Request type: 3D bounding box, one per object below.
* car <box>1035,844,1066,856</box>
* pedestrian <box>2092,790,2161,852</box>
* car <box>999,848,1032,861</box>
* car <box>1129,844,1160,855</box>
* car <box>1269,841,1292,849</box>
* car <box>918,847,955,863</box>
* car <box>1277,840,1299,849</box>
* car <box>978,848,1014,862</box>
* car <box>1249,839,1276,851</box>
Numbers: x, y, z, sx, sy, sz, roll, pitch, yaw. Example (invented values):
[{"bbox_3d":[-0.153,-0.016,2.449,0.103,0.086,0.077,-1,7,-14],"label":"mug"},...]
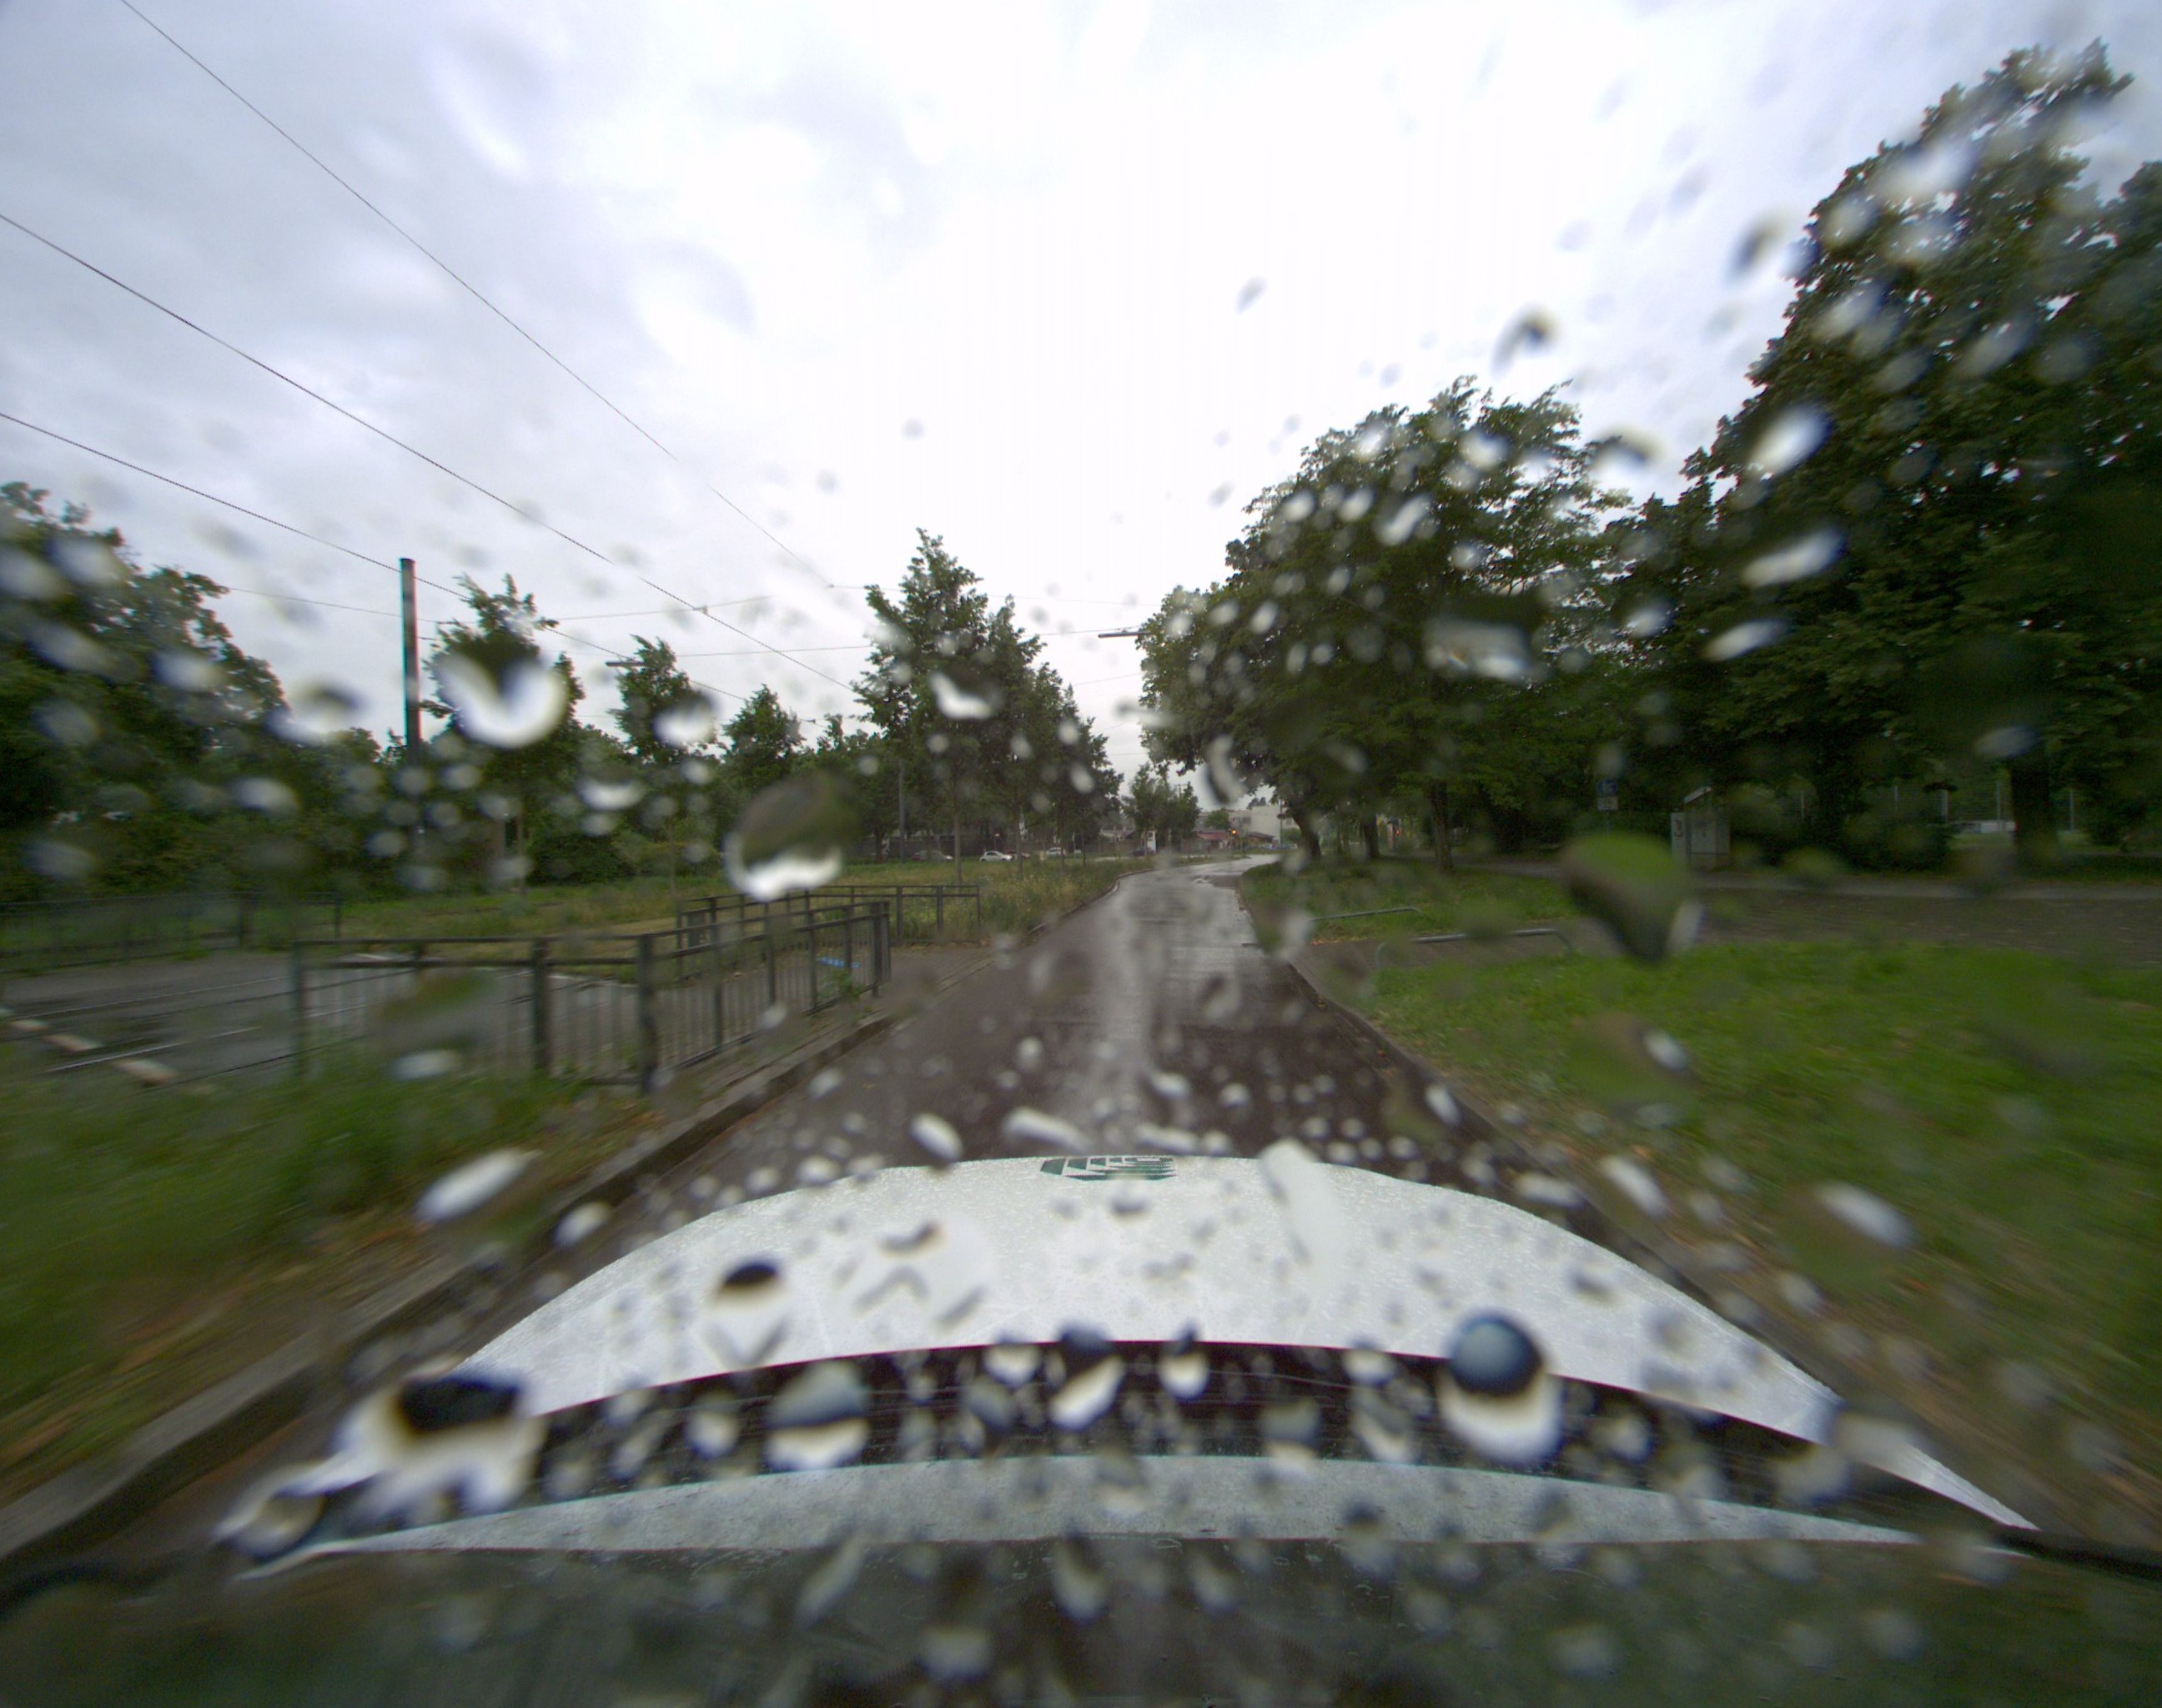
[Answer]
[{"bbox_3d":[-4.200,-0.563,111.774,3.961,1.420,1.543,-2,1,11],"label":"car"},{"bbox_3d":[29.506,-0.911,22.920,1.027,1.694,0.855,-2,0,2],"label":"pedestrian"},{"bbox_3d":[-8.373,0.072,103.817,3.794,1.499,1.657,-2,0,10],"label":"car"},{"bbox_3d":[8.562,-0.615,109.311,3.767,1.420,1.700,-1,1,27],"label":"car"},{"bbox_3d":[35.335,-1.599,144.317,3.722,1.442,1.770,-2,0,16],"label":"car"},{"bbox_3d":[-18.083,0.133,101.931,4.185,1.796,1.656,-1,1,8],"label":"car"},{"bbox_3d":[37.370,-1.672,147.058,3.722,1.442,1.770,-2,0,16],"label":"car"},{"bbox_3d":[-10.477,0.107,100.270,4.040,1.499,1.657,-2,0,10],"label":"car"},{"bbox_3d":[31.312,-1.579,140.547,4.096,1.860,1.684,-2,0,28],"label":"car"}]
